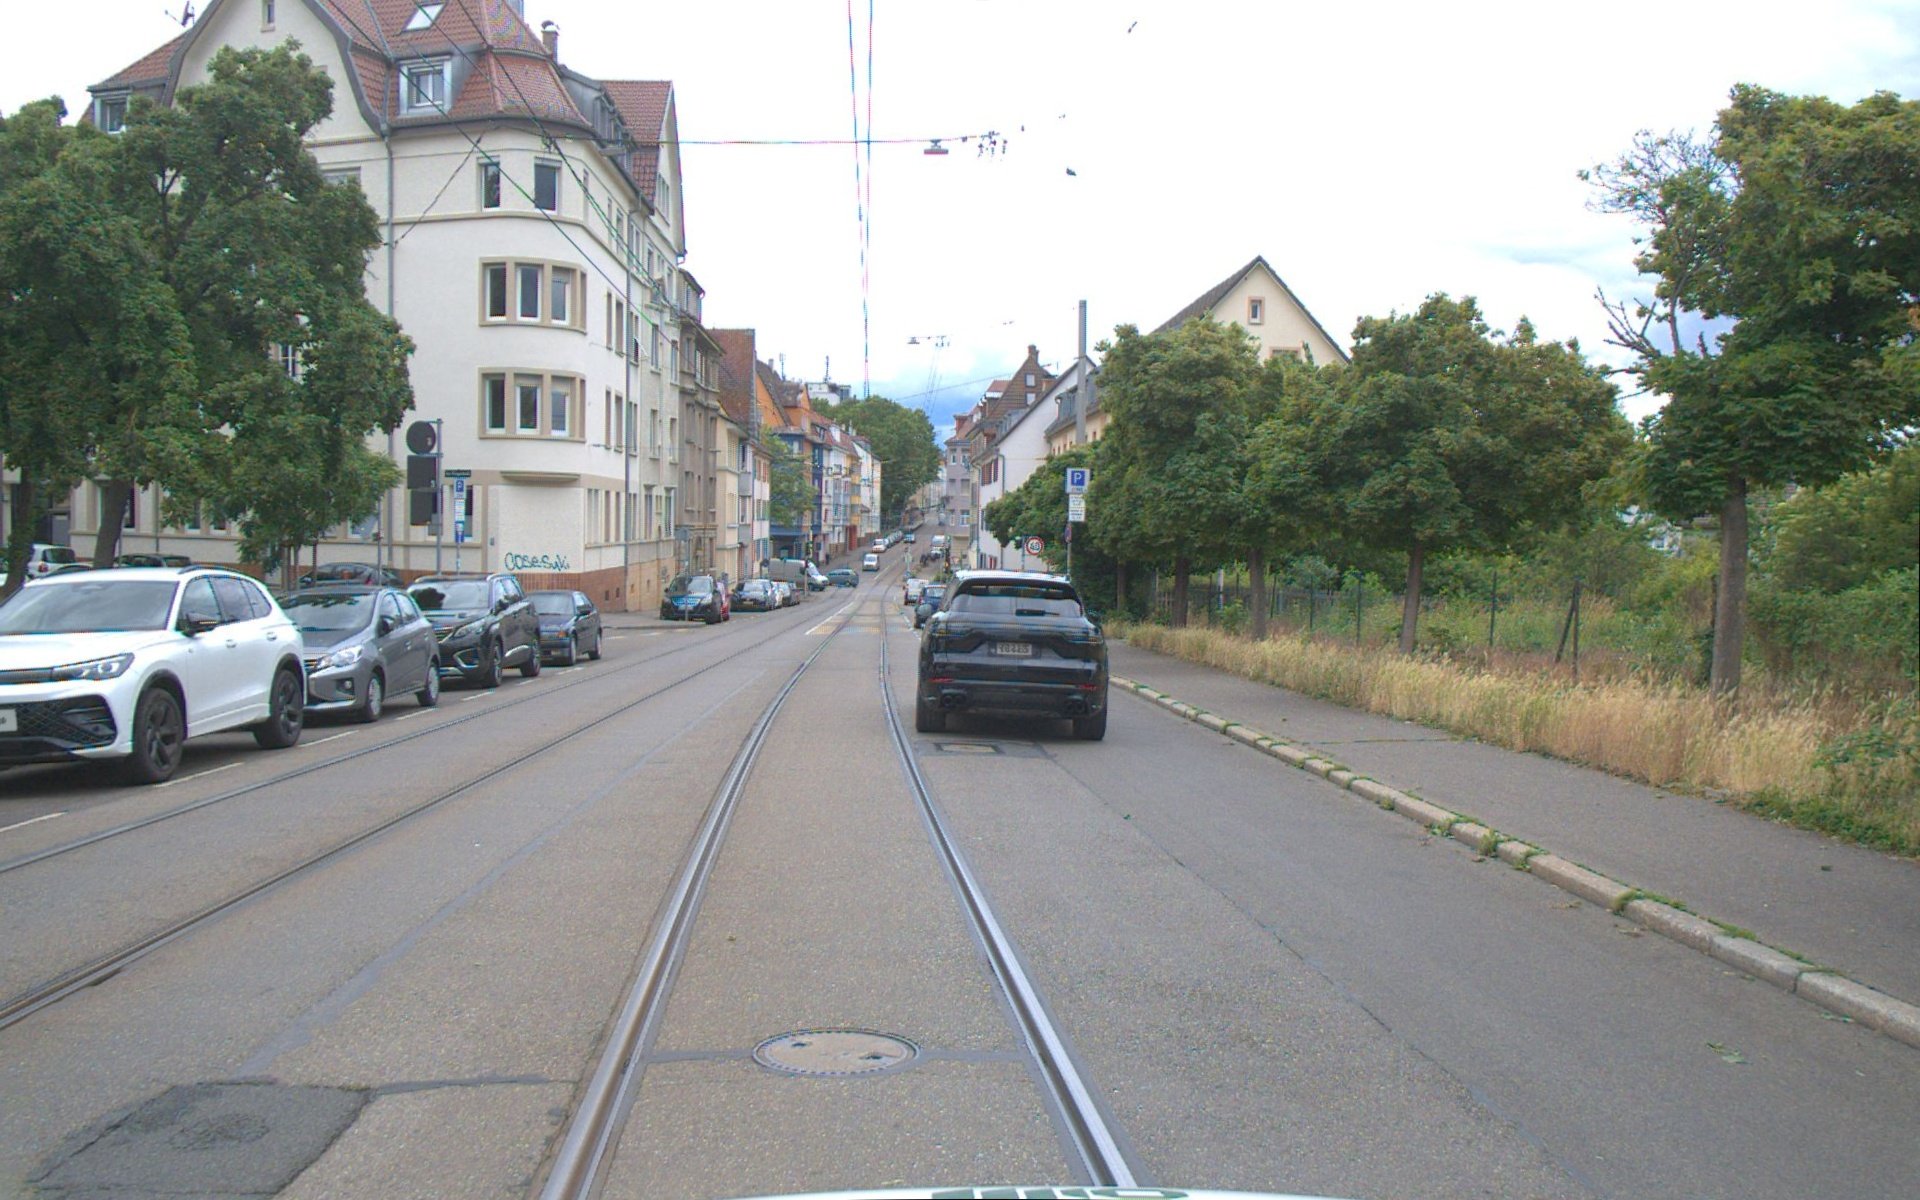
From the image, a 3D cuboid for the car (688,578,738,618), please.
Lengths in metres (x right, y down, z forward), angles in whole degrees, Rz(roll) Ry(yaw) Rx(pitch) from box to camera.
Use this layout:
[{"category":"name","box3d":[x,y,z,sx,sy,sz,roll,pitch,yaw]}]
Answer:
[{"category":"car","box3d":[-9.341,-0.070,62.724,1.589,1.489,3.742,0,0,-4]}]

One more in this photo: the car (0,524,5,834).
[{"category":"car","box3d":[-6.828,0.487,7.979,1.930,1.946,4.731,0,0,-4]}]

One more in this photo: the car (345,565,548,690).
[{"category":"car","box3d":[-7.633,0.384,25.034,1.930,1.716,4.441,0,0,-4]}]

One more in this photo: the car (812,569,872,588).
[{"category":"car","box3d":[-11.260,-2.069,157.652,5.319,1.734,2.102,1,0,26]}]

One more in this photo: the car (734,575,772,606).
[{"category":"car","box3d":[-10.171,-0.448,81.352,1.588,1.489,4.030,0,0,-4]}]

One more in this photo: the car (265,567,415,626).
[{"category":"car","box3d":[-18.107,-0.126,48.319,3.907,1.599,1.876,1,1,24]}]

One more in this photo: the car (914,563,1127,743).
[{"category":"car","box3d":[0.527,0.496,17.897,1.954,1.705,3.998,1,0,-3]}]

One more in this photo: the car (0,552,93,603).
[{"category":"car","box3d":[-30.346,-0.743,53.779,3.907,1.571,1.760,1,1,24]}]

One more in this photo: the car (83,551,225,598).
[{"category":"car","box3d":[-25.095,-0.793,51.492,3.907,1.377,1.876,1,1,24]}]

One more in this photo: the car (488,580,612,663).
[{"category":"car","box3d":[-7.816,0.397,31.856,1.588,1.503,4.153,0,0,-4]}]

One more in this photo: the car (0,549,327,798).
[{"category":"car","box3d":[-6.971,0.510,13.685,1.930,1.716,4.629,0,0,-4]}]

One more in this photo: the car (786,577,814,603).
[{"category":"car","box3d":[-9.722,-0.594,100.753,1.588,1.499,4.552,0,0,-4]}]

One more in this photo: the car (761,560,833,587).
[{"category":"car","box3d":[-14.654,-2.371,148.770,6.156,2.330,2.200,1,0,26]}]

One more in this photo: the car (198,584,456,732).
[{"category":"car","box3d":[-7.175,0.606,19.141,1.704,1.535,3.866,0,0,-4]}]

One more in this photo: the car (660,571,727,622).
[{"category":"car","box3d":[-9.124,-0.104,56.904,1.830,1.674,4.399,0,0,-4]}]

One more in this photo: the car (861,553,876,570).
[{"category":"car","box3d":[-10.697,-4.504,193.621,1.716,1.790,4.252,1,0,-2]}]

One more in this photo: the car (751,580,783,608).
[{"category":"car","box3d":[-10.731,-0.331,92.184,1.589,1.489,3.682,0,0,-4]}]

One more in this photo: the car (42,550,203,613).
[{"category":"car","box3d":[-22.410,-0.529,44.250,3.908,1.464,1.760,3,3,24]}]

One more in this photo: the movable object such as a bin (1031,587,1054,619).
[{"category":"movable object such as a bin","box3d":[3.294,0.117,65.756,0.777,1.239,0.788,1,0,-6]}]
